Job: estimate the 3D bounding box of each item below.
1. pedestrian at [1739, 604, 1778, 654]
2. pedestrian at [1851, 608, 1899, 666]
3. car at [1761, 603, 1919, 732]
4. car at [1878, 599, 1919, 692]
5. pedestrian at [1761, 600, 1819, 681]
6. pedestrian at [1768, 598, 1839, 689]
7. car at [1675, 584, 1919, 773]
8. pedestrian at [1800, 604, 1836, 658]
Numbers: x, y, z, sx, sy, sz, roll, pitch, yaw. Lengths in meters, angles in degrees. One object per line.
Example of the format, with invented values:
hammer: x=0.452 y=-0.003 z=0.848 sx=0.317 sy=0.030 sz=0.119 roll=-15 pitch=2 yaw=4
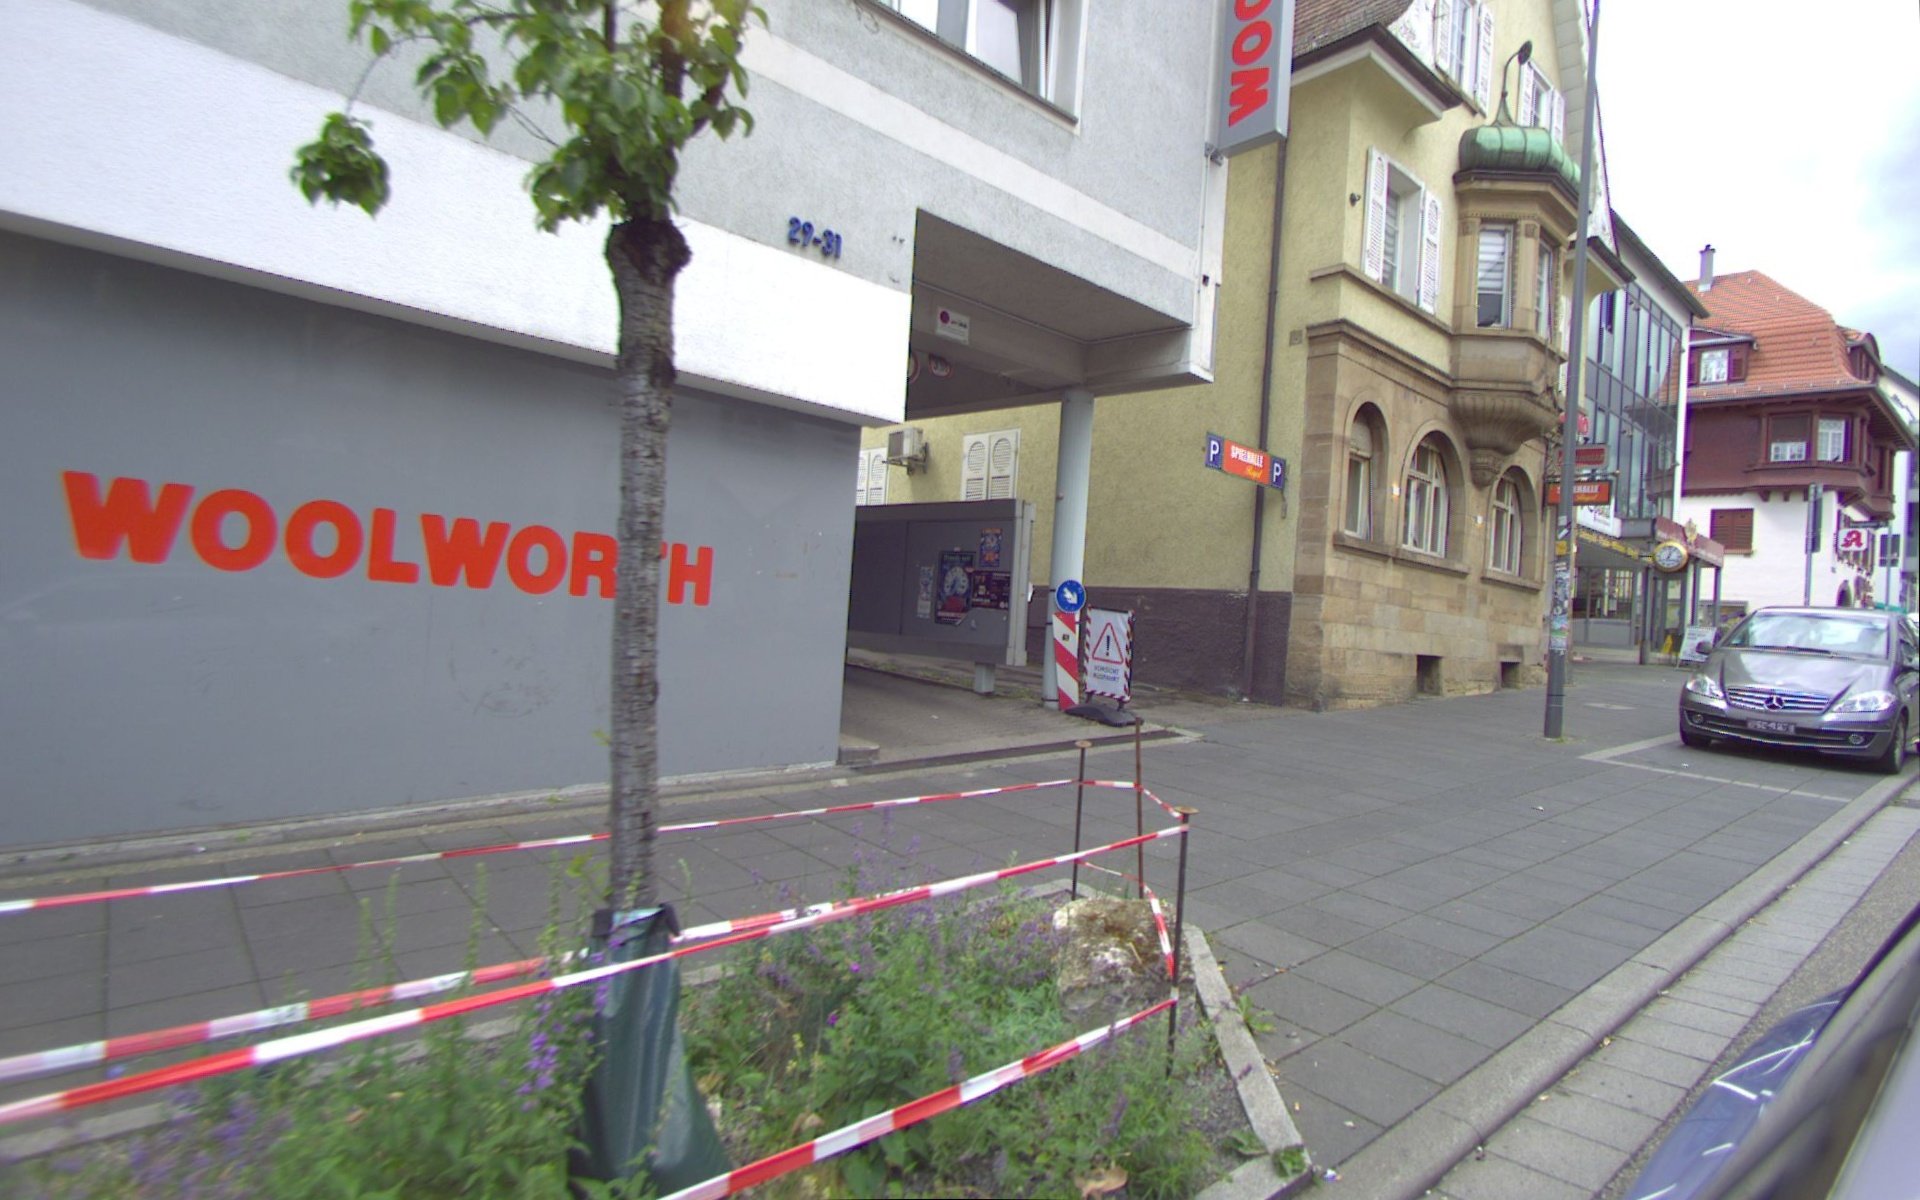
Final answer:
pedestrian: x=27.542 y=0.993 z=34.903 sx=0.853 sy=1.665 sz=0.775 roll=2 pitch=1 yaw=-35
pedestrian: x=28.881 y=1.157 z=31.939 sx=0.926 sy=1.728 sz=0.867 roll=2 pitch=1 yaw=-35
car: x=12.936 y=0.877 z=14.477 sx=3.809 sy=1.527 sz=1.751 roll=1 pitch=2 yaw=-44
car: x=21.145 y=0.965 z=21.314 sx=4.644 sy=1.822 sz=1.882 roll=1 pitch=0 yaw=-38
pedestrian: x=18.773 y=0.899 z=22.896 sx=1.034 sy=1.748 sz=0.798 roll=1 pitch=1 yaw=-41
pedestrian: x=16.215 y=0.816 z=19.457 sx=0.786 sy=1.687 sz=0.827 roll=2 pitch=0 yaw=-35
car: x=9.448 y=0.726 z=10.946 sx=3.730 sy=1.627 sz=1.753 roll=1 pitch=2 yaw=-38
pedestrian: x=29.033 y=1.036 z=34.255 sx=0.803 sy=1.791 sz=0.776 roll=2 pitch=0 yaw=-39
